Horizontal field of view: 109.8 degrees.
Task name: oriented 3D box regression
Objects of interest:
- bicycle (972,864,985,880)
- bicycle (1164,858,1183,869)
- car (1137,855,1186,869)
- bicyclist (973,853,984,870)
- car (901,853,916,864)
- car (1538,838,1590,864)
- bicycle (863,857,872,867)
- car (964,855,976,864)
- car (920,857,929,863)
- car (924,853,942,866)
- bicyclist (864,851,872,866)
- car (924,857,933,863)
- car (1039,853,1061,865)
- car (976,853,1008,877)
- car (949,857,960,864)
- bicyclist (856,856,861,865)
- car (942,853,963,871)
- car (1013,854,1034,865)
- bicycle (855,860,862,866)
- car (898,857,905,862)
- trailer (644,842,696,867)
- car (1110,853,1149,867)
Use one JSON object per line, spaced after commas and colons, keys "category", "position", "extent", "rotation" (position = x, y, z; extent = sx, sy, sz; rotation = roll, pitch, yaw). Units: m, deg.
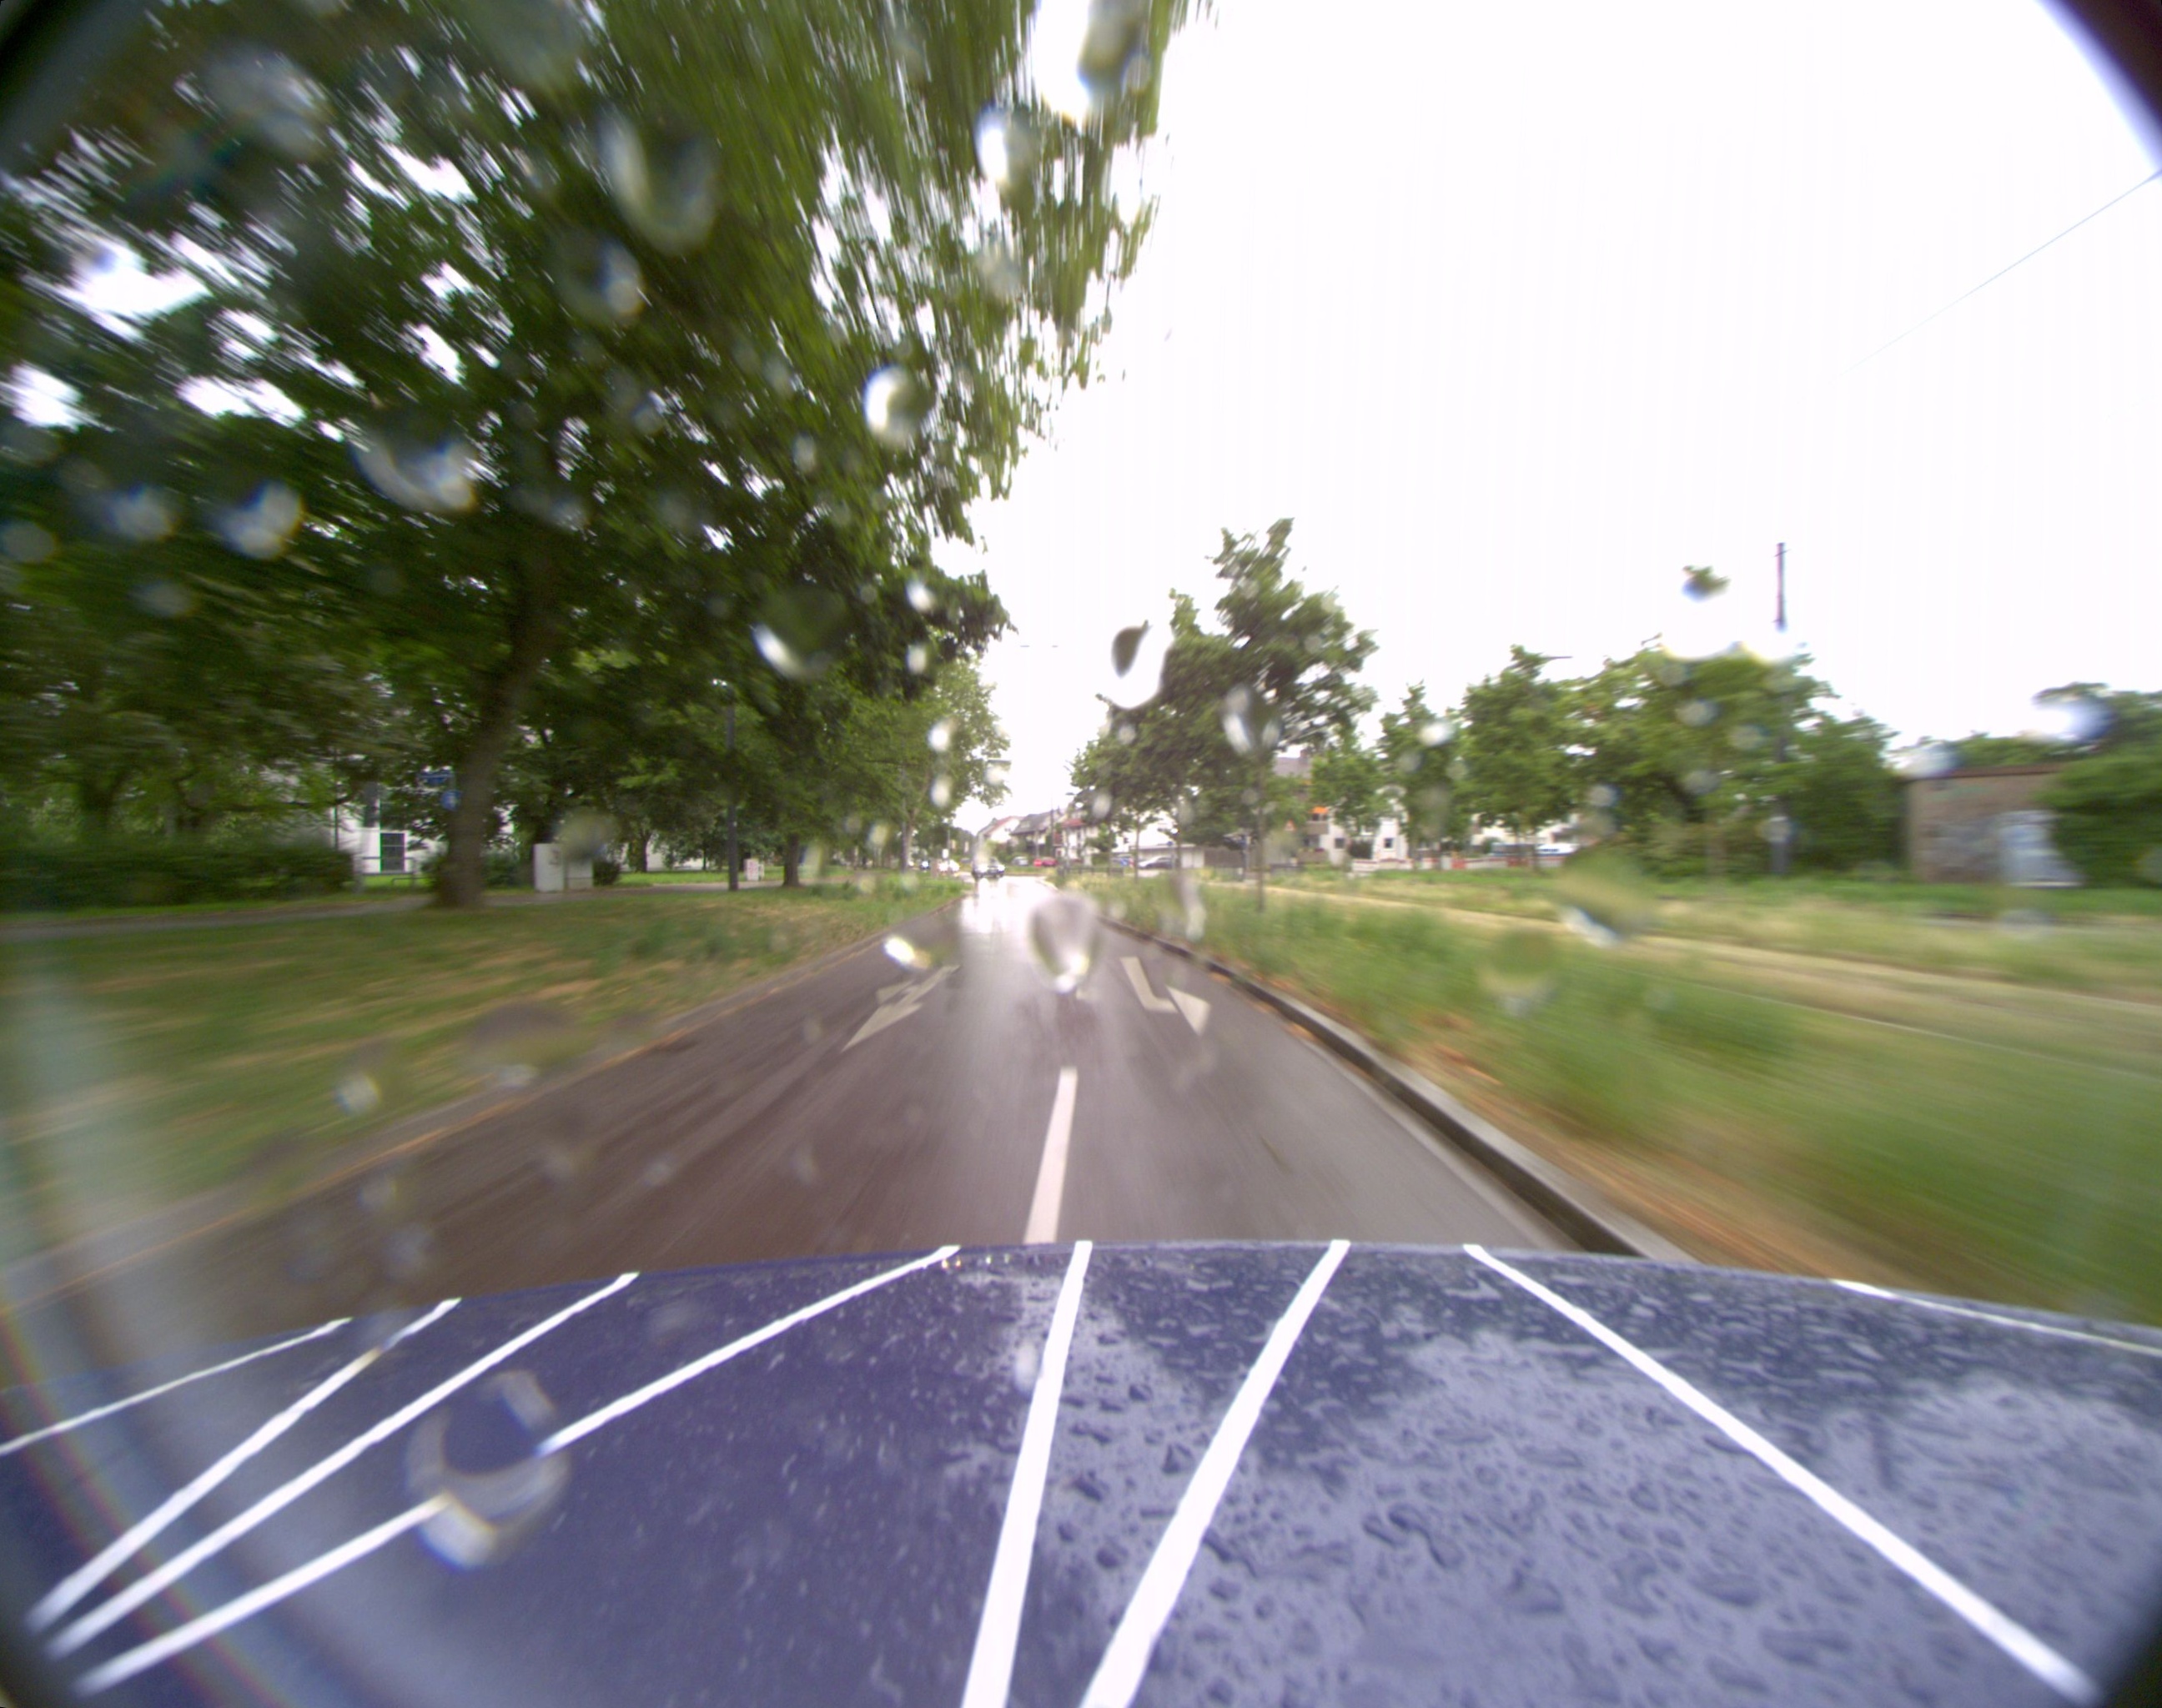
{"category": "bicycle", "position": [-6.694, 1.151, 49.612], "extent": [0.660, 1.008, 2.254], "rotation": [0, 1, -13]}
{"category": "bicycle", "position": [9.047, 0.935, 74.295], "extent": [0.483, 1.013, 1.837], "rotation": [-5, 2, -43]}
{"category": "car", "position": [8.402, 0.807, 79.826], "extent": [4.744, 1.357, 1.845], "rotation": [-2, 0, -16]}
{"category": "bicyclist", "position": [-6.714, 0.488, 49.679], "extent": [0.622, 1.078, 0.624], "rotation": [0, 1, -13]}
{"category": "car", "position": [-26.830, 0.727, 118.365], "extent": [1.770, 1.715, 3.927], "rotation": [0, 1, -21]}
{"category": "car", "position": [47.213, -0.280, 74.304], "extent": [4.475, 2.432, 1.914], "rotation": [0, 0, -19]}
{"category": "bicycle", "position": [-24.616, 0.921, 87.678], "extent": [0.713, 1.136, 1.970], "rotation": [-1, 1, -8]}
{"category": "car", "position": [-22.838, 1.166, 156.333], "extent": [1.761, 1.604, 4.104], "rotation": [-4, 1, -19]}
{"category": "car", "position": [-42.981, 1.662, 208.336], "extent": [1.761, 1.507, 3.848], "rotation": [-4, 1, -19]}
{"category": "car", "position": [-19.435, 0.681, 99.705], "extent": [1.770, 1.715, 3.928], "rotation": [0, 1, -18]}
{"category": "bicyclist", "position": [-24.614, 0.475, 87.662], "extent": [0.713, 1.711, 0.956], "rotation": [-1, 1, -8]}
{"category": "car", "position": [-41.036, 1.566, 204.157], "extent": [1.761, 1.507, 3.848], "rotation": [-4, 1, -19]}
{"category": "car", "position": [-4.237, 0.687, 103.838], "extent": [1.849, 1.538, 3.967], "rotation": [-4, 1, -18]}
{"category": "car", "position": [-7.178, 0.882, 60.859], "extent": [1.770, 1.715, 3.929], "rotation": [-3, 0, -17]}
{"category": "car", "position": [-28.768, 1.380, 172.872], "extent": [1.761, 1.507, 3.848], "rotation": [-4, 1, -19]}
{"category": "bicyclist", "position": [-25.657, 0.793, 87.616], "extent": [0.488, 1.032, 0.591], "rotation": [-1, 1, -8]}
{"category": "car", "position": [-13.424, 0.814, 78.985], "extent": [1.769, 1.715, 3.929], "rotation": [-2, 1, -15]}
{"category": "car", "position": [-8.837, 0.850, 116.442], "extent": [2.001, 1.604, 4.677], "rotation": [-2, 0, -18]}
{"category": "bicycle", "position": [-25.667, 1.066, 87.641], "extent": [0.488, 0.704, 1.456], "rotation": [0, 0, -8]}
{"category": "car", "position": [-58.909, 1.774, 248.959], "extent": [1.761, 1.507, 3.848], "rotation": [-4, 1, -19]}
{"category": "trailer", "position": [-39.900, 0.054, 73.768], "extent": [1.887, 2.295, 4.029], "rotation": [0, 0, 32]}
{"category": "car", "position": [5.607, 0.703, 87.705], "extent": [4.004, 1.567, 1.889], "rotation": [-1, 0, -19]}
